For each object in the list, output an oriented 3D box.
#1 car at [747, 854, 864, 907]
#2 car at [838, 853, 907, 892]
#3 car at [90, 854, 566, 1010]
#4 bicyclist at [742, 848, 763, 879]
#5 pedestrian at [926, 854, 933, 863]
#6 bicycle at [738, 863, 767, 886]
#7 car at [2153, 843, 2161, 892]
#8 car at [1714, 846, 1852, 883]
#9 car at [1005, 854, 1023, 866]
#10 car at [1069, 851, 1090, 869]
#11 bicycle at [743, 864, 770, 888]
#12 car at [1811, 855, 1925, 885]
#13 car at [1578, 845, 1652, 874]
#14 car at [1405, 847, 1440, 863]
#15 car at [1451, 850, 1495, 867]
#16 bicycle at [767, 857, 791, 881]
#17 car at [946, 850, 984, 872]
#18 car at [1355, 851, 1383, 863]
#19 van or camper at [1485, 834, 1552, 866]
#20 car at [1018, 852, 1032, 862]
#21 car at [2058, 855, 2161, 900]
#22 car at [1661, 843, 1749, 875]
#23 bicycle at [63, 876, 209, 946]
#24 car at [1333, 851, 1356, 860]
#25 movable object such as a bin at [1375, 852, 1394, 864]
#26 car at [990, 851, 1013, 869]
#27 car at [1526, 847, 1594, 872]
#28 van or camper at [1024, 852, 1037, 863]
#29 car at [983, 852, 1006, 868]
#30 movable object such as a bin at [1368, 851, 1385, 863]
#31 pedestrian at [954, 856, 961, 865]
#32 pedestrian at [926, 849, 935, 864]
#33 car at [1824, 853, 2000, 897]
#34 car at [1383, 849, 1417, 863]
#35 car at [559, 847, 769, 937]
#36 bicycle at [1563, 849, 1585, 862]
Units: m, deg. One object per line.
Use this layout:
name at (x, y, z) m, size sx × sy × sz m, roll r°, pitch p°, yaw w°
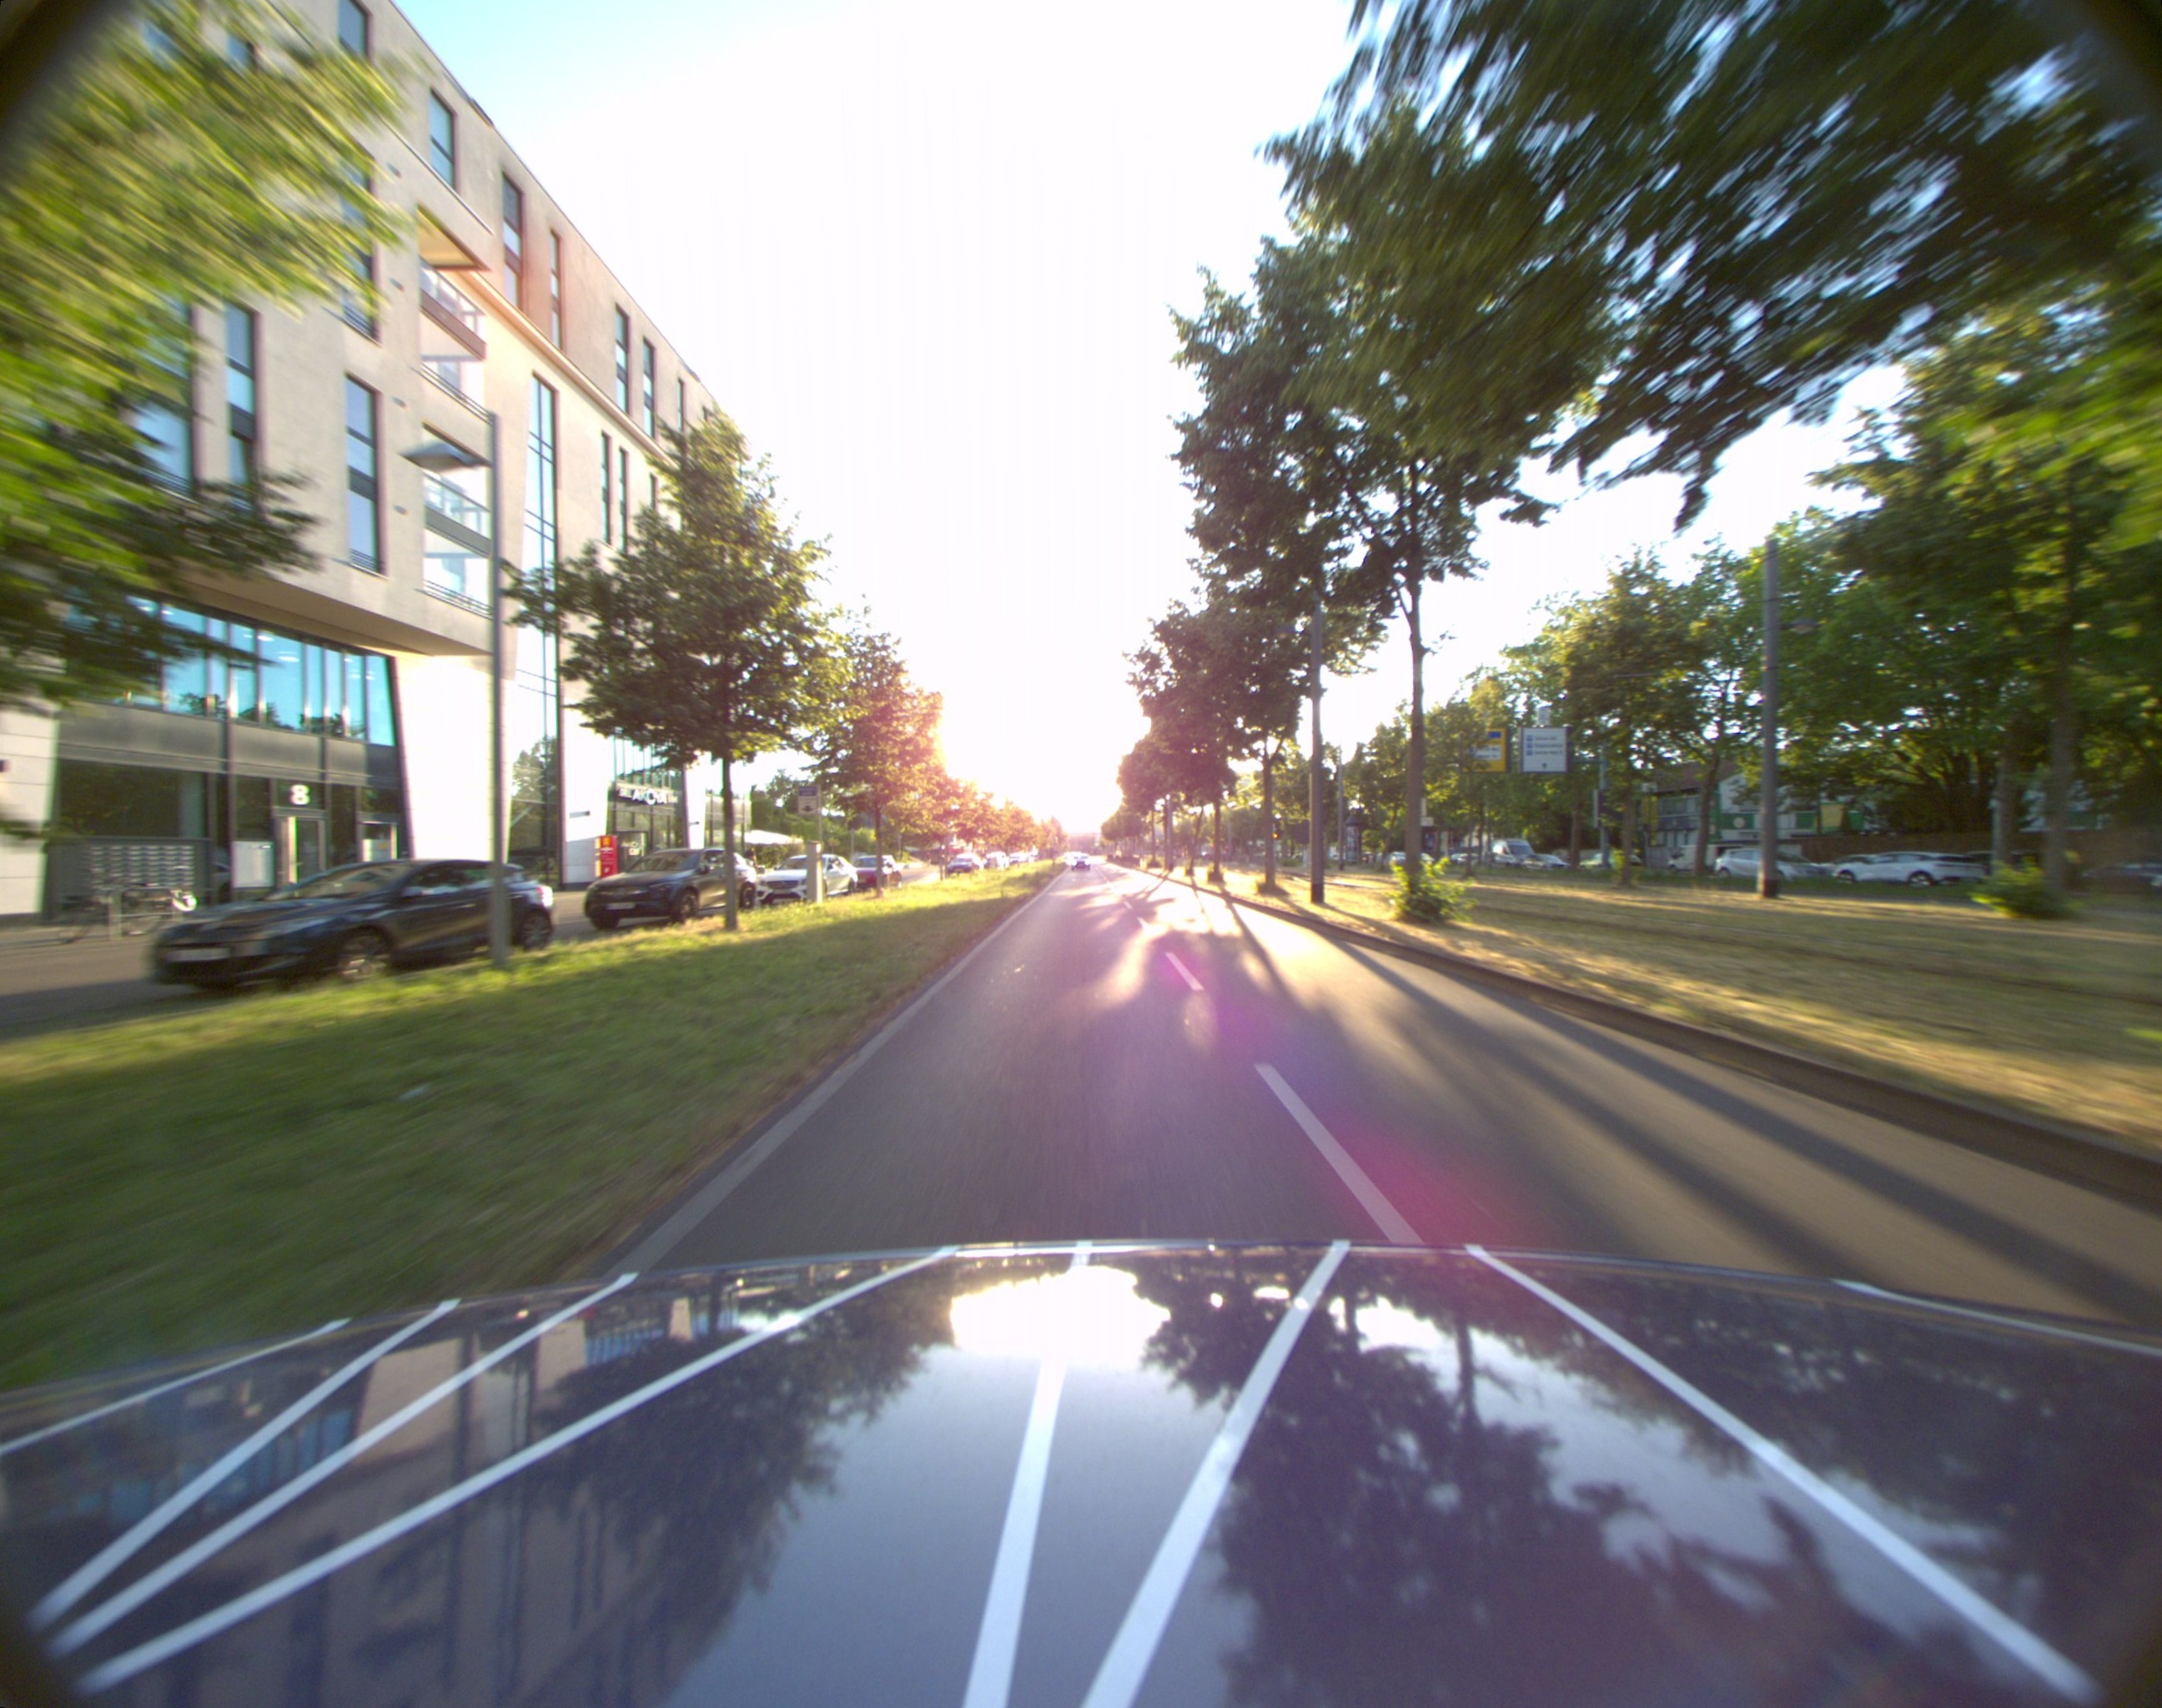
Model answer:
car at (-8.613, 0.773, 24.291) m, size 1.926 × 1.492 × 5.009 m, roll -1°, pitch 0°, yaw 0°
car at (-8.629, 0.736, 31.794) m, size 1.813 × 1.492 × 3.959 m, roll -1°, pitch 0°, yaw 0°
car at (-8.845, 0.770, 9.596) m, size 1.728 × 1.492 × 4.232 m, roll -2°, pitch 0°, yaw 1°
bicyclist at (-16.781, 0.499, 38.813) m, size 0.545 × 1.559 × 1.020 m, roll -1°, pitch 0°, yaw 4°
pedestrian at (-20.762, 0.574, 104.281) m, size 0.745 × 1.258 × 0.771 m, roll -1°, pitch 0°, yaw 1°
bicycle at (-16.773, 1.017, 38.821) m, size 0.544 × 1.111 × 1.913 m, roll -1°, pitch 0°, yaw 4°
car at (29.785, 0.367, 17.851) m, size 1.998 × 1.307 × 5.142 m, roll 0°, pitch 0°, yaw 1°
car at (31.019, 0.427, 33.801) m, size 1.998 × 1.490 × 4.557 m, roll 0°, pitch 0°, yaw 1°
car at (-8.862, 0.769, 100.812) m, size 1.924 × 1.492 × 5.410 m, roll -1°, pitch 0°, yaw 0°
car at (-0.124, 0.545, 69.898) m, size 1.828 × 1.625 × 4.000 m, roll -1°, pitch 0°, yaw 0°
bicycle at (-15.943, 1.049, 37.358) m, size 0.548 × 1.122 × 1.868 m, roll 1°, pitch 0°, yaw -1°
car at (40.598, 0.800, 39.348) m, size 1.864 × 1.483 × 4.050 m, roll 0°, pitch 0°, yaw 4°
car at (31.914, 0.318, 45.519) m, size 1.997 × 1.630 × 4.002 m, roll 0°, pitch 0°, yaw 7°
car at (34.586, 0.126, 77.024) m, size 1.814 × 1.522 × 4.054 m, roll -1°, pitch 0°, yaw 2°
car at (35.815, 0.407, 69.499) m, size 1.998 × 1.492 × 4.098 m, roll -1°, pitch 0°, yaw 2°
bicycle at (-15.875, 0.794, 39.983) m, size 0.618 × 1.224 × 1.670 m, roll 0°, pitch 0°, yaw -2°
car at (-8.396, 0.482, 55.180) m, size 1.812 × 1.492 × 4.369 m, roll 0°, pitch 0°, yaw 4°
car at (36.006, 0.324, 95.117) m, size 1.998 × 1.440 × 4.000 m, roll -1°, pitch 0°, yaw 2°
van or camper at (33.562, -0.287, 58.538) m, size 2.289 × 2.351 × 5.785 m, roll -1°, pitch 0°, yaw 5°
car at (-8.493, 0.482, 115.490) m, size 1.813 × 1.492 × 4.479 m, roll -1°, pitch 0°, yaw 0°
car at (39.804, 0.856, 28.415) m, size 1.769 × 1.586 × 3.839 m, roll 0°, pitch 0°, yaw 4°
car at (41.688, 0.314, 50.953) m, size 1.998 × 2.002 × 5.060 m, roll -1°, pitch 0°, yaw 4°
bicycle at (-15.946, 0.921, 12.881) m, size 0.534 × 1.053 × 1.611 m, roll -1°, pitch 0°, yaw -5°
car at (37.049, 0.182, 106.985) m, size 1.998 × 1.194 × 4.089 m, roll -1°, pitch 0°, yaw 2°
movable object such as a bin at (34.826, 0.494, 87.302) m, size 1.556 × 1.364 × 1.724 m, roll -1°, pitch 0°, yaw 2°
car at (-8.185, 0.612, 78.324) m, size 1.813 × 1.622 × 4.675 m, roll -4°, pitch 0°, yaw 0°
car at (33.074, 0.342, 52.631) m, size 1.999 × 1.627 × 4.208 m, roll 0°, pitch 0°, yaw -1°
van or camper at (-8.830, 0.605, 133.042) m, size 1.963 × 1.908 × 4.830 m, roll -2°, pitch 0°, yaw 1°
car at (-8.262, 0.566, 73.186) m, size 1.754 × 1.390 × 4.000 m, roll -1°, pitch 0°, yaw -1°
movable object such as a bin at (35.071, 0.307, 90.222) m, size 1.412 × 1.403 × 1.701 m, roll -1°, pitch 0°, yaw 2°
pedestrian at (-17.097, 0.884, 105.408) m, size 0.782 × 1.283 × 0.685 m, roll 2°, pitch 0°, yaw 7°
pedestrian at (-16.546, 0.251, 83.558) m, size 0.696 × 1.645 × 1.078 m, roll -1°, pitch 0°, yaw 0°
car at (30.771, 0.708, 28.377) m, size 1.904 × 1.491 × 4.306 m, roll 0°, pitch 0°, yaw 1°
car at (34.797, 0.172, 82.903) m, size 1.998 × 1.491 × 4.299 m, roll -1°, pitch 0°, yaw 2°
car at (-8.923, 0.726, 16.869) m, size 1.958 × 1.614 × 4.820 m, roll -3°, pitch 0°, yaw 0°
bicycle at (40.613, 0.109, 62.624) m, size 0.732 × 1.084 × 2.017 m, roll 0°, pitch 0°, yaw 6°
